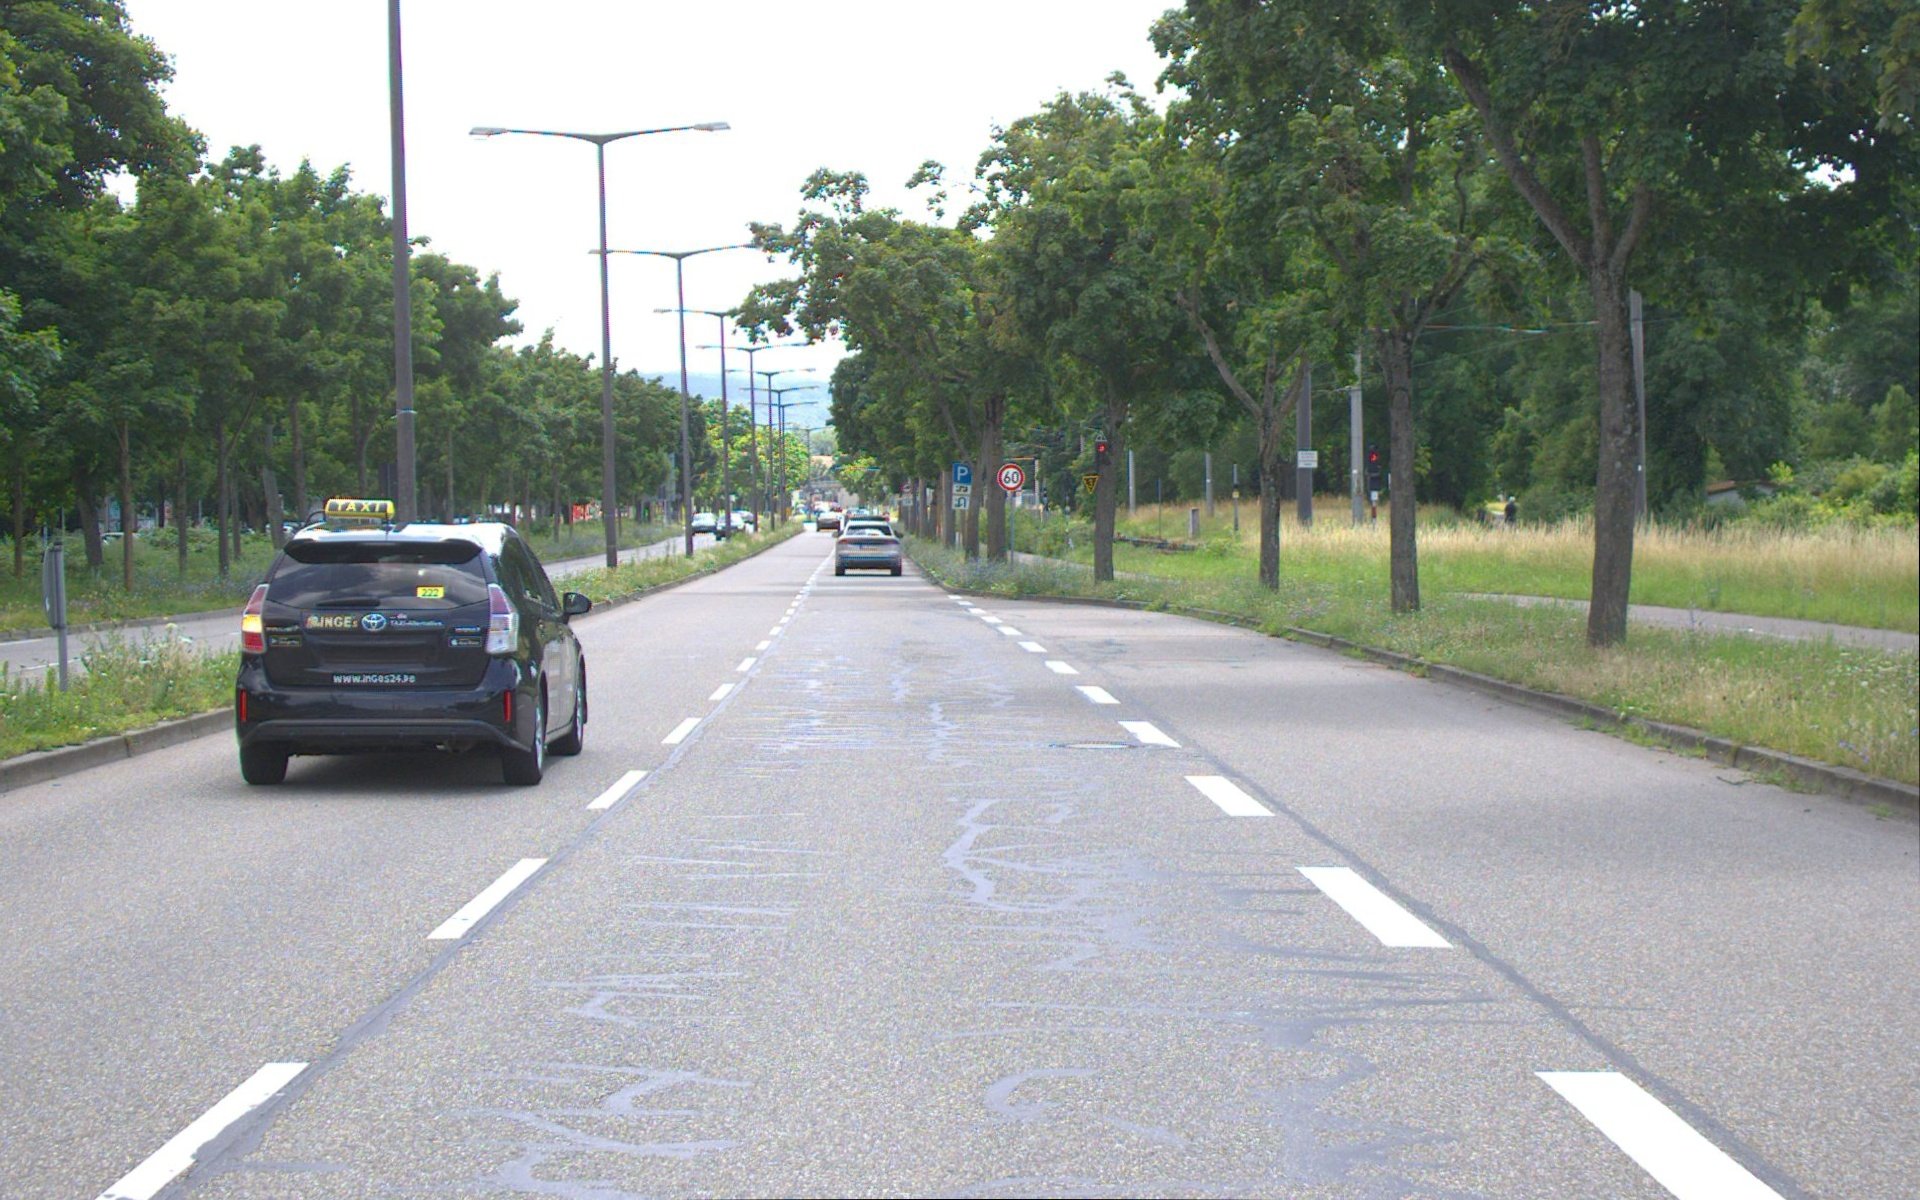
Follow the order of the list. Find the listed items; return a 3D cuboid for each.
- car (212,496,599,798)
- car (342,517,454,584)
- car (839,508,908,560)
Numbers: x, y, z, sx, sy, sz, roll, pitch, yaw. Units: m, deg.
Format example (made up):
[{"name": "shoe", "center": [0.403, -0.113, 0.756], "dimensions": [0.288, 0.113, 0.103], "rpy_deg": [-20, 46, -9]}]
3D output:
[{"name": "car", "center": [-3.345, 0.205, 21.431], "dimensions": [1.779, 1.678, 4.001], "rpy_deg": [1, 2, 0]}, {"name": "car", "center": [-13.401, -1.197, 82.133], "dimensions": [1.879, 1.503, 3.797], "rpy_deg": [1, 2, 3]}, {"name": "car", "center": [-2.633, -2.003, 103.877], "dimensions": [1.993, 1.503, 4.001], "rpy_deg": [0, 2, -2]}]
